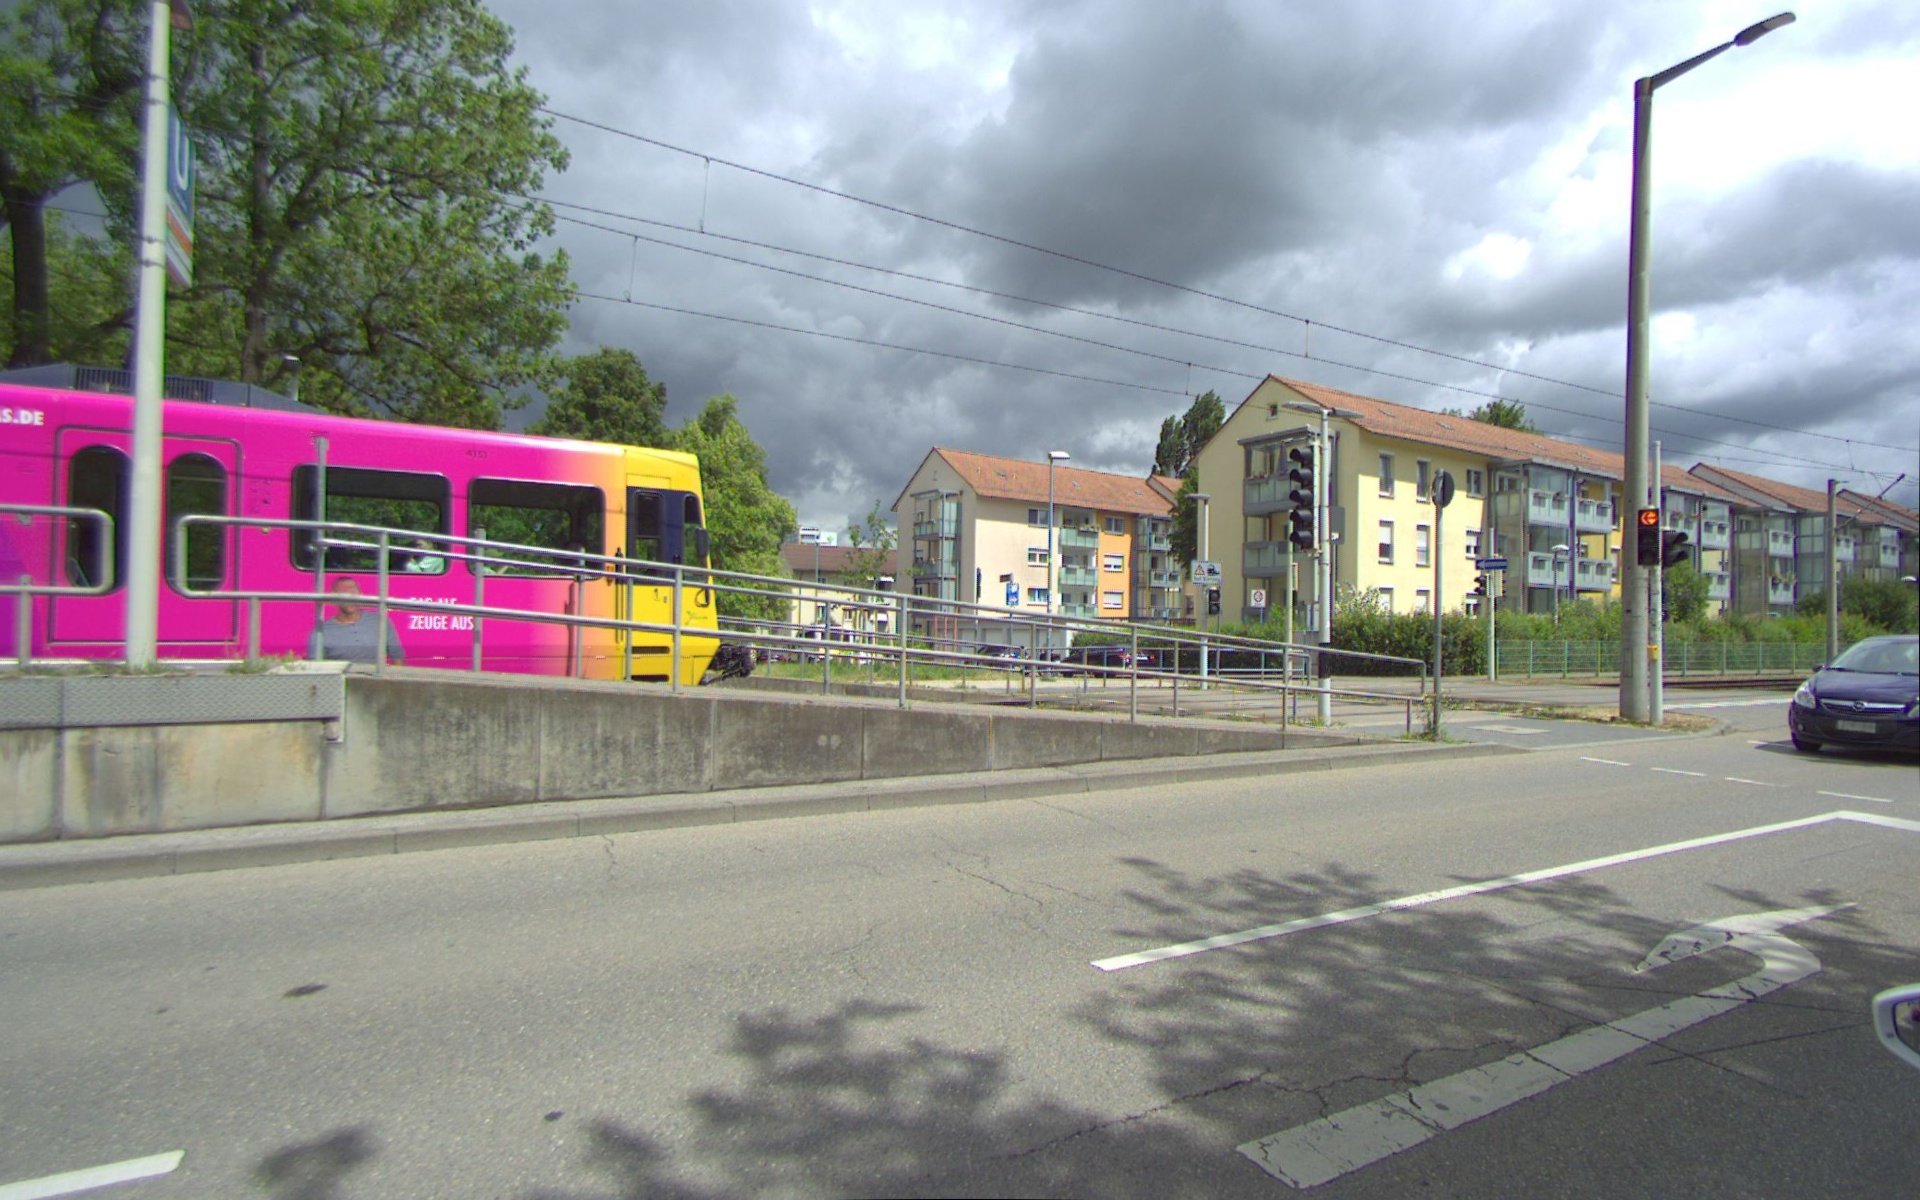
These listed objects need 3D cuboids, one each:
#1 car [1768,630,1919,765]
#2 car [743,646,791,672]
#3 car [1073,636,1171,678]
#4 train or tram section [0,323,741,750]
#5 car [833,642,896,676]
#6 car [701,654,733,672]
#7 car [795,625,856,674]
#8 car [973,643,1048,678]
[{"bbox_3d":[12.027,1.156,12.588,3.963,1.460,1.709,2,-1,-31],"label":"car"},{"bbox_3d":[-12.290,3.775,63.788,1.974,1.485,3.976,2,-6,-26],"label":"car"},{"bbox_3d":[6.124,2.234,38.448,1.971,1.485,3.982,2,-5,-21],"label":"car"},{"bbox_3d":[-11.450,-0.665,9.380,18.323,3.914,2.966,2,0,-31],"label":"train or tram section"},{"bbox_3d":[-4.618,2.849,48.024,1.971,1.485,3.982,2,-5,-21],"label":"car"},{"bbox_3d":[-21.109,5.497,87.005,1.973,1.485,3.978,2,-5,-24],"label":"car"},{"bbox_3d":[-7.031,2.623,52.182,1.974,2.387,3.976,2,-5,-26],"label":"car"},{"bbox_3d":[2.236,2.811,45.839,1.971,1.485,3.982,2,-5,-21],"label":"car"}]
